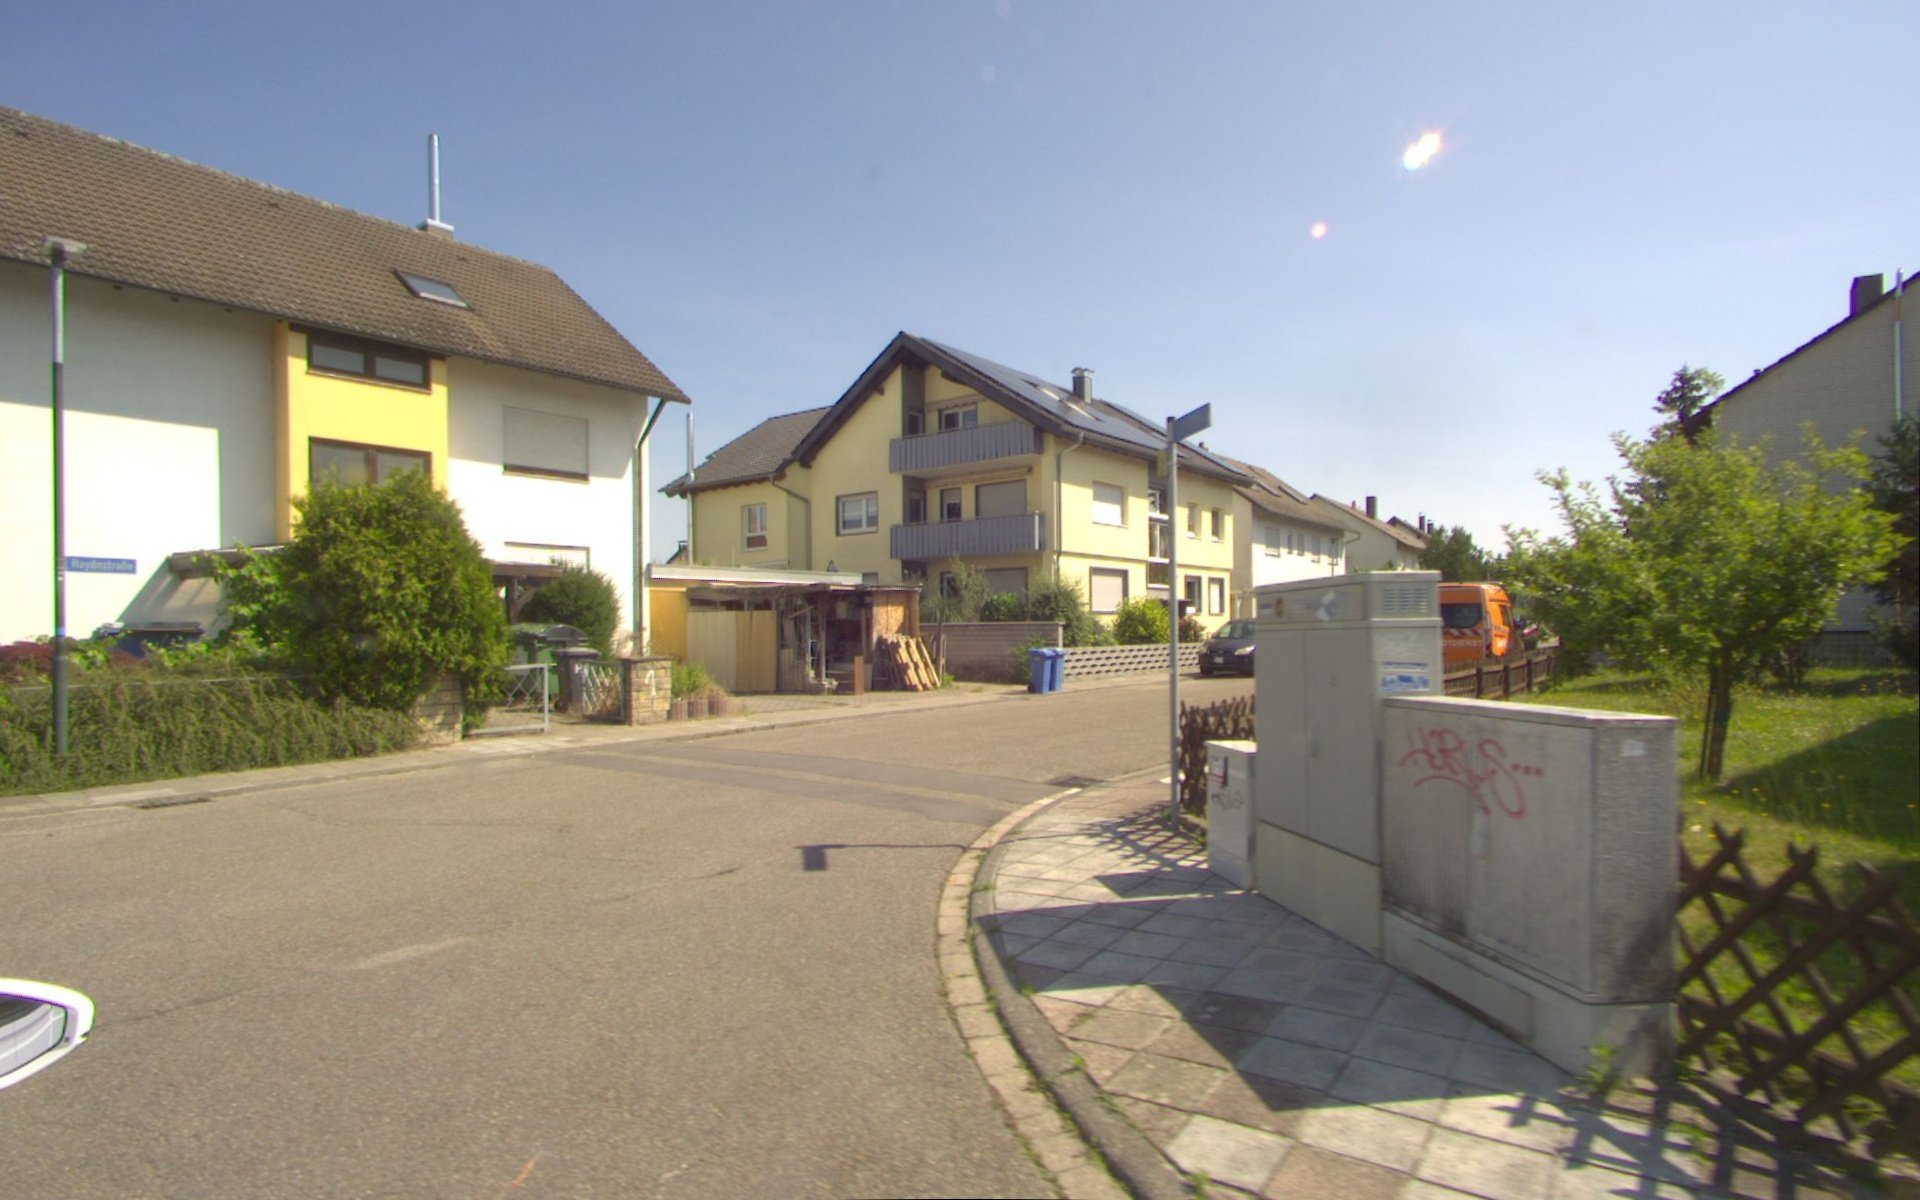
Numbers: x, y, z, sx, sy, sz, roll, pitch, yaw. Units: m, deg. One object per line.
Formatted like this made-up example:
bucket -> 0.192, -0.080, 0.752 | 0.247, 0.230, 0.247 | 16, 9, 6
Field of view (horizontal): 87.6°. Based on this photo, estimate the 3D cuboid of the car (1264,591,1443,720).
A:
car -> 6.952, 0.908, 17.423 | 1.848, 1.963, 4.176 | -2, -2, 37

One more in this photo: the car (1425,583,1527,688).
car -> 12.755, 0.863, 24.621 | 1.537, 2.353, 4.176 | -2, -2, 37

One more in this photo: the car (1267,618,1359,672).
car -> 11.683, 1.466, 33.027 | 1.614, 1.646, 3.971 | -2, -2, 39

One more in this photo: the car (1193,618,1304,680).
car -> 8.296, 1.361, 28.586 | 1.614, 1.646, 3.971 | -2, -2, 39

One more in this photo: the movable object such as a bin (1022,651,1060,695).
movable object such as a bin -> 1.761, 1.578, 21.680 | 0.577, 0.928, 0.594 | -2, -1, 37
